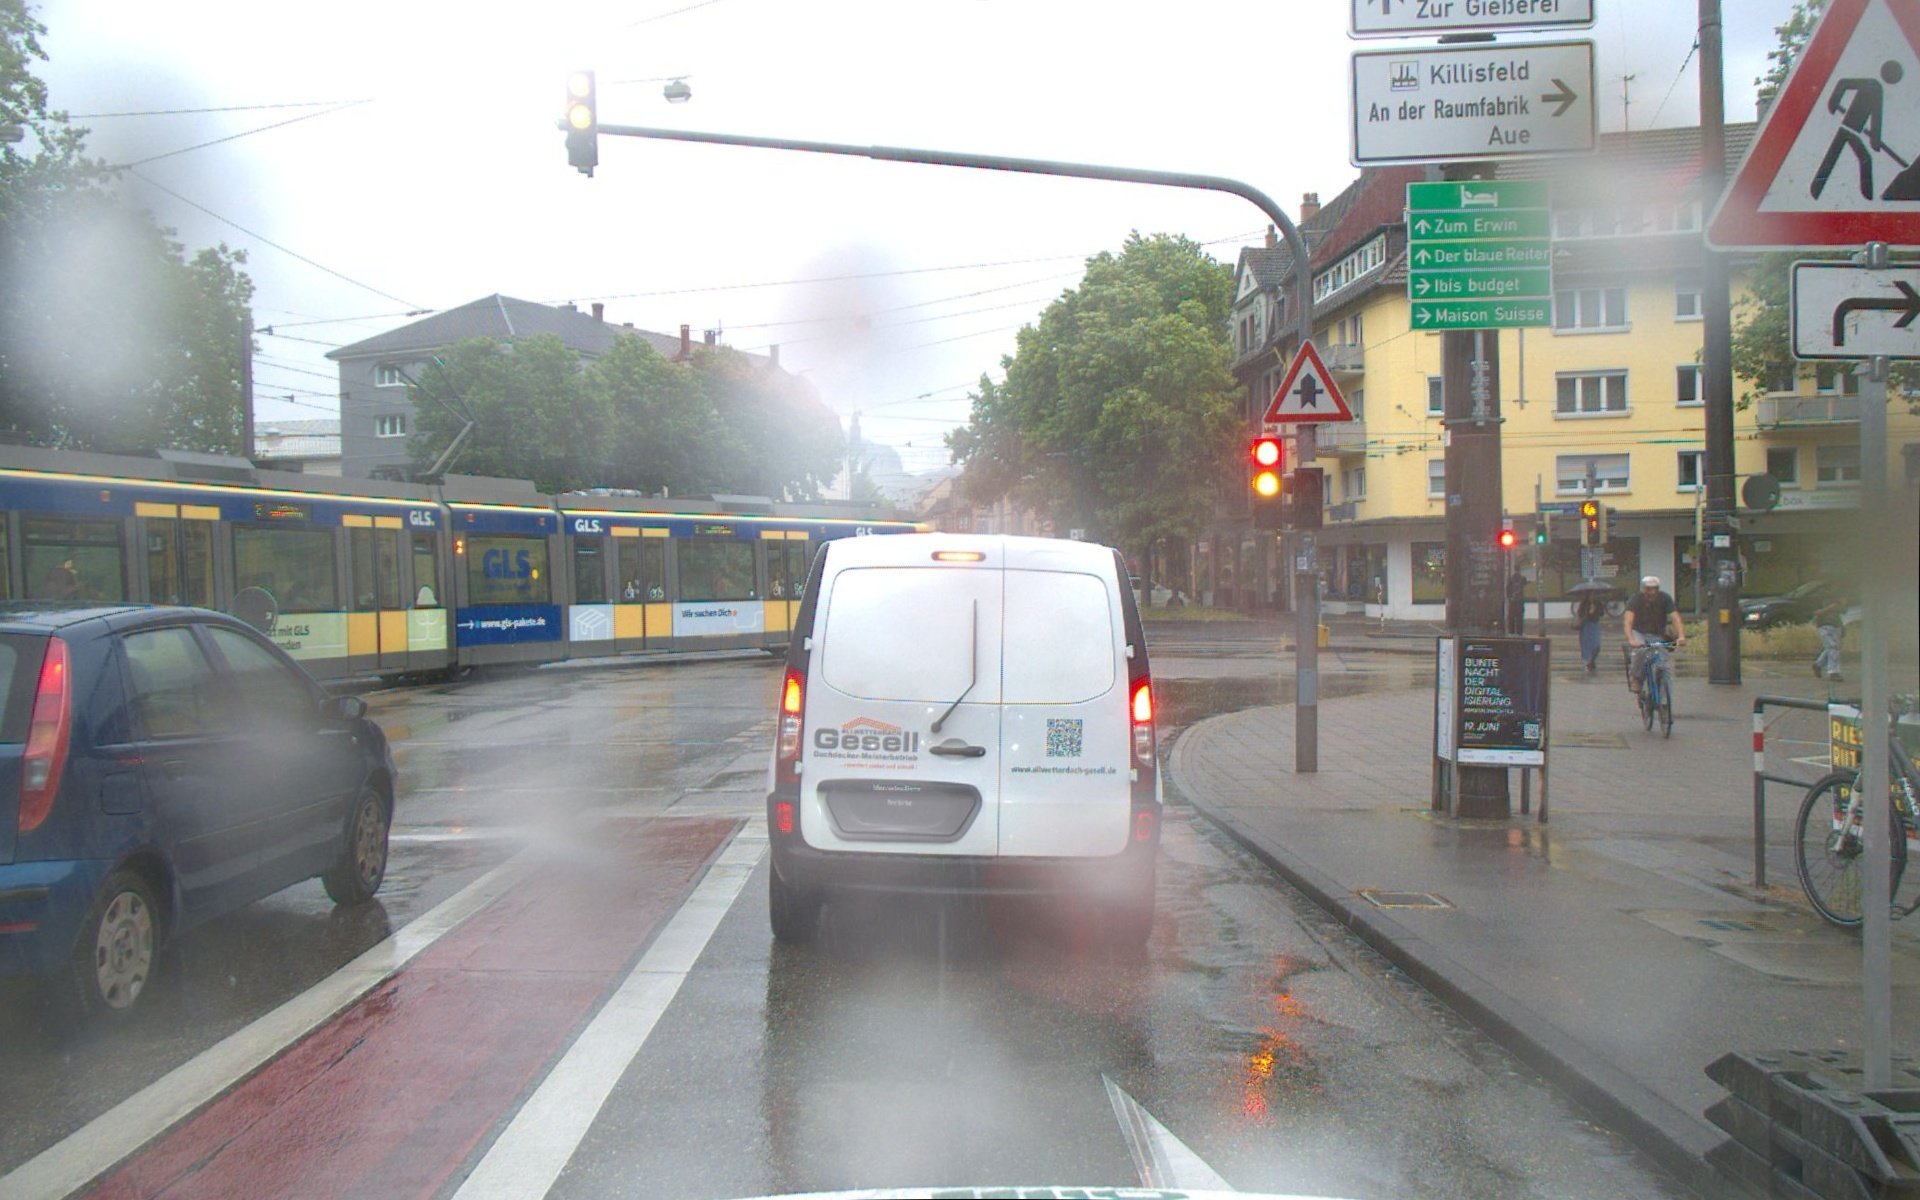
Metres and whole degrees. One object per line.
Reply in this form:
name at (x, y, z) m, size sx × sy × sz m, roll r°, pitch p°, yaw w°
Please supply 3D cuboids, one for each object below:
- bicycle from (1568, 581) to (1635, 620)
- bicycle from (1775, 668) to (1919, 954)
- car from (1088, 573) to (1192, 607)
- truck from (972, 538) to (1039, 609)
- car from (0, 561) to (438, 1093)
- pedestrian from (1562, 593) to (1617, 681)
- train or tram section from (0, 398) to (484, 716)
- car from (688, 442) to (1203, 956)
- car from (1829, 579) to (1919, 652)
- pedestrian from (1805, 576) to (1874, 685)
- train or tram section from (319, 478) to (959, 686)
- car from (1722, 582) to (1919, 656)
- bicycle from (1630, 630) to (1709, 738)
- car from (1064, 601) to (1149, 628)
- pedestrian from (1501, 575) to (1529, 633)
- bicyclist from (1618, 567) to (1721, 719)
bicycle at (21.552, 0.007, 55.598) m, size 2.056 × 1.283 × 0.532 m, roll 0°, pitch 1°, yaw 14°
bicycle at (4.254, 0.914, 7.088) m, size 0.503 × 1.126 × 2.017 m, roll 3°, pitch 0°, yaw 1°
car at (7.503, -0.417, 69.061) m, size 4.088 × 1.362 × 1.518 m, roll 0°, pitch 1°, yaw -8°
truck at (3.377, -1.964, 129.153) m, size 3.402 × 5.176 × 15.289 m, roll 0°, pitch 0°, yaw -5°
car at (-3.607, 0.677, 6.882) m, size 1.692 × 1.606 × 3.820 m, roll 0°, pitch 0°, yaw -1°
pedestrian at (11.364, 0.665, 29.855) m, size 0.809 × 1.561 × 0.614 m, roll 1°, pitch 0°, yaw -39°
train or tram section at (-11.611, -0.501, 22.077) m, size 3.438 × 3.574 × 13.669 m, roll 1°, pitch 0°, yaw 15°
car at (-0.091, 0.401, 9.103) m, size 2.058 × 2.047 × 4.962 m, roll 0°, pitch 0°, yaw -1°
car at (21.218, 0.319, 35.884) m, size 3.854 × 1.516 × 1.808 m, roll 0°, pitch 1°, yaw 15°
pedestrian at (13.958, 0.471, 26.274) m, size 0.886 × 1.698 × 1.019 m, roll 0°, pitch 0°, yaw 24°
train or tram section at (-5.748, -0.245, 35.075) m, size 3.479 × 3.472 × 15.456 m, roll 1°, pitch 0°, yaw 33°
car at (20.861, 0.464, 39.081) m, size 4.832 × 1.672 × 2.001 m, roll 0°, pitch -2°, yaw 11°
bicycle at (7.775, 0.894, 18.179) m, size 0.449 × 1.045 × 1.903 m, roll 0°, pitch 1°, yaw 13°
car at (6.250, 0.614, 70.796) m, size 3.378 × 1.150 × 1.469 m, roll 0°, pitch 0°, yaw -9°
pedestrian at (14.662, 0.097, 43.705) m, size 0.609 × 1.526 × 0.552 m, roll 0°, pitch 0°, yaw 28°
bicyclist at (7.768, 0.458, 18.142) m, size 0.859 × 1.611 × 0.861 m, roll 0°, pitch 0°, yaw 9°
